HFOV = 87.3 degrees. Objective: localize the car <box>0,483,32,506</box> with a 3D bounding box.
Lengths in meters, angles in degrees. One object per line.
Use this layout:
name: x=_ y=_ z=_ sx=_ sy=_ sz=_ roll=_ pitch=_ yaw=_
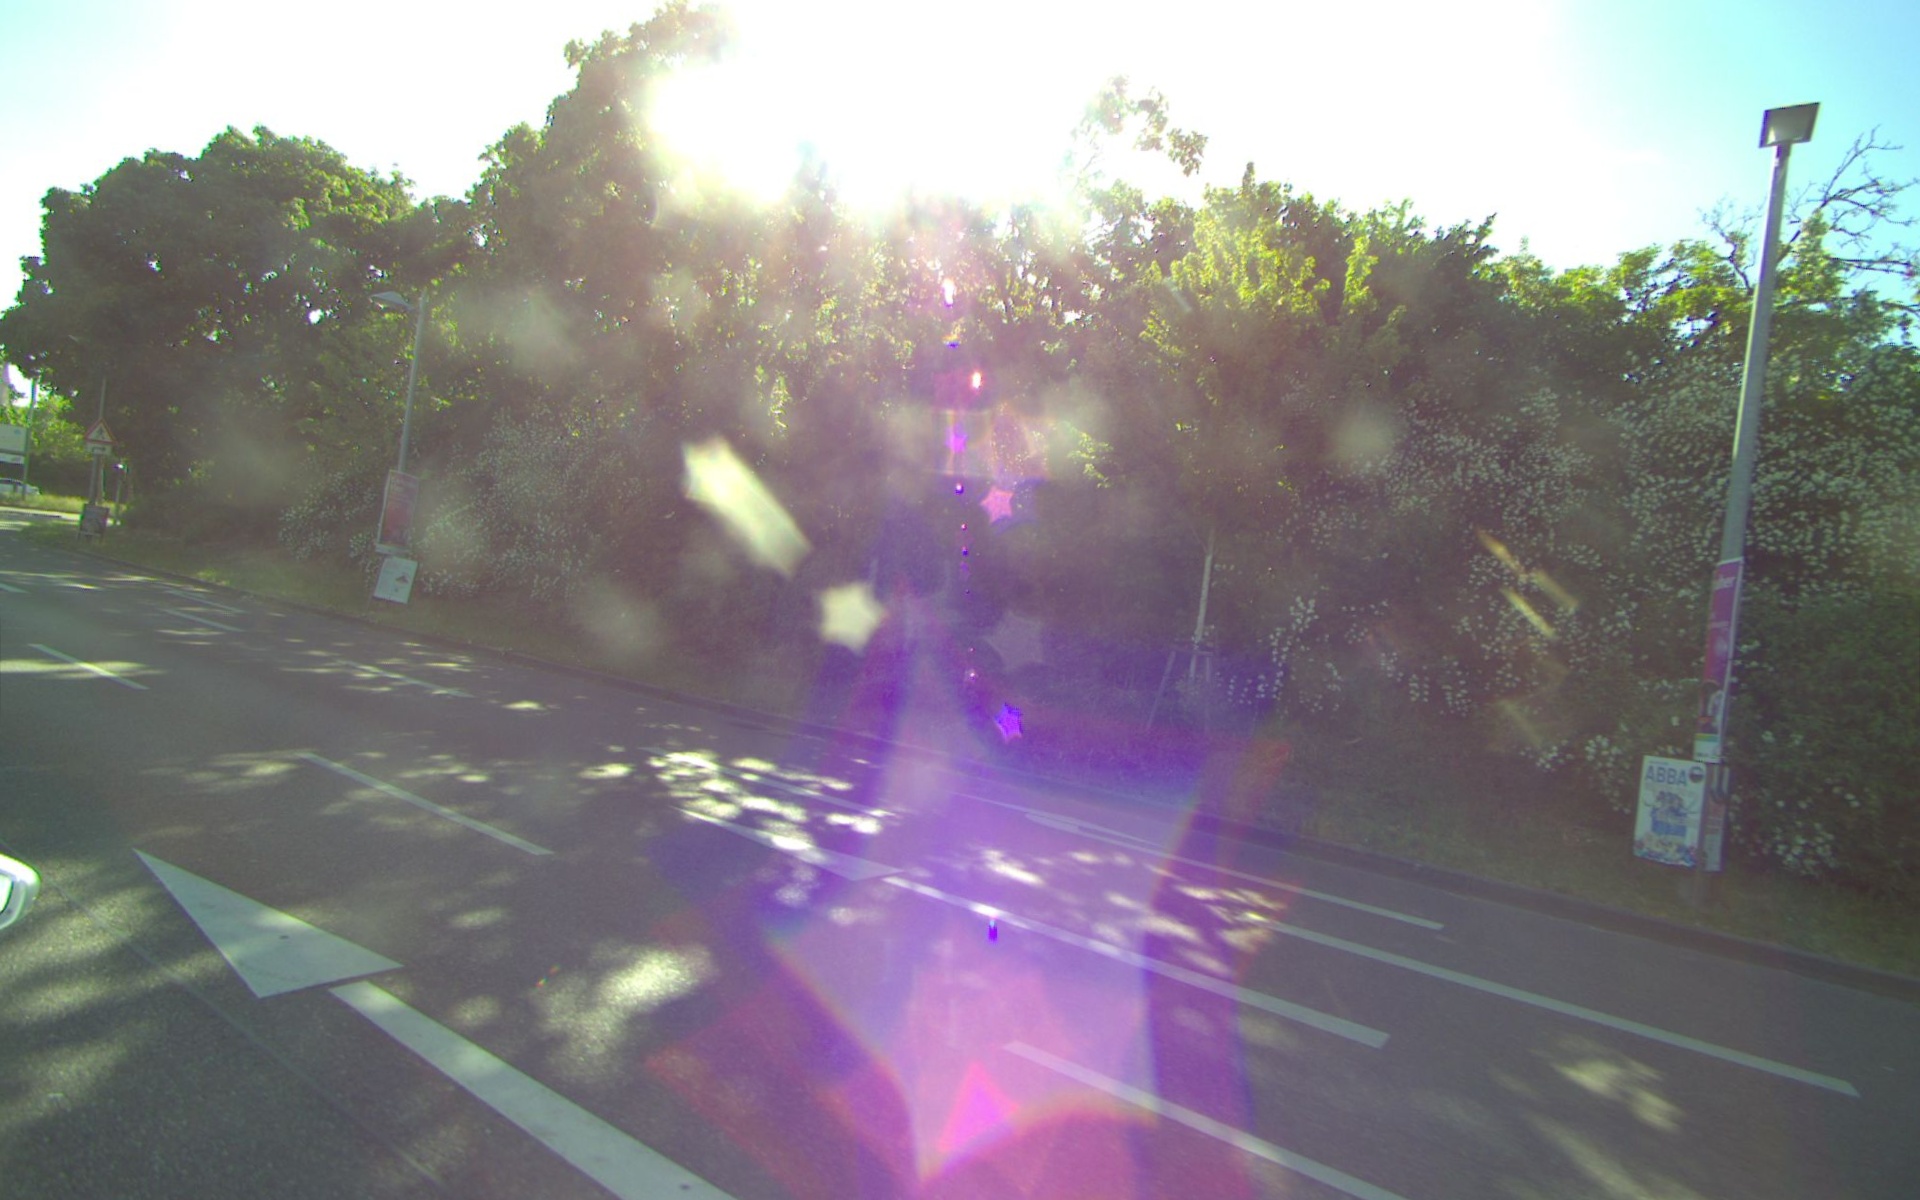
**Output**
car: x=-71.882 y=-8.037 z=74.544 sx=2.032 sy=1.387 sz=4.373 roll=7 pitch=-1 yaw=42
